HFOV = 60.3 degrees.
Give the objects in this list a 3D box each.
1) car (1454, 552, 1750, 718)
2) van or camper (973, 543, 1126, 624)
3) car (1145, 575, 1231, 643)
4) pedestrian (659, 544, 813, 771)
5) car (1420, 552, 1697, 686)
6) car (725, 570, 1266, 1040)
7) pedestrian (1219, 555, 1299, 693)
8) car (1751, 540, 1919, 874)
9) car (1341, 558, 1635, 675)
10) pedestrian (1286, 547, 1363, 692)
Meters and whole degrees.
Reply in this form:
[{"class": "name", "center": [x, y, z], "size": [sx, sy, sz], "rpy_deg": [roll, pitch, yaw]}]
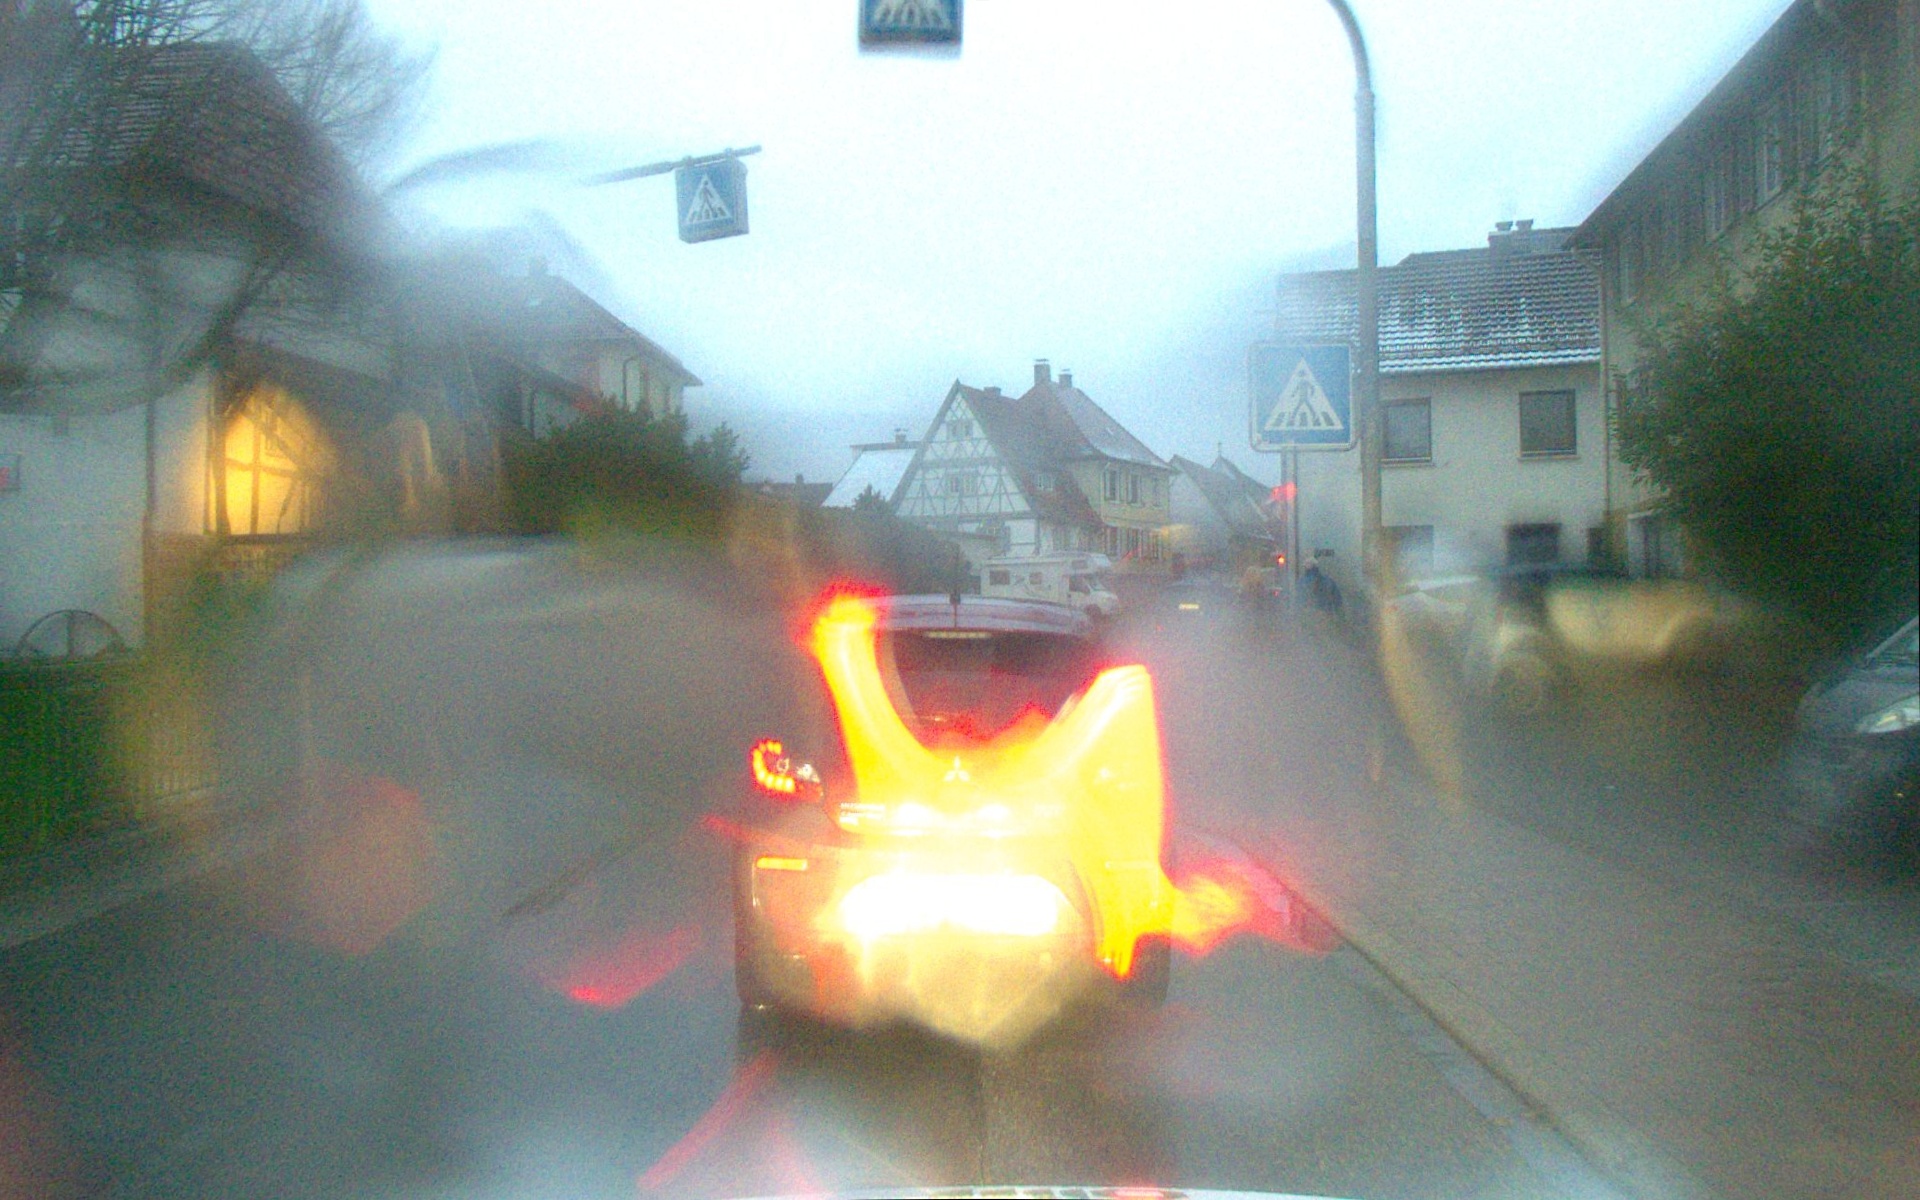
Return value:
[{"class": "car", "center": [6.658, 0.340, 17.362], "size": [2.528, 1.574, 1.552], "rpy_deg": [-2, 1, 6]}, {"class": "van or camper", "center": [3.840, -0.678, 70.844], "size": [5.937, 3.006, 2.406], "rpy_deg": [-4, -1, 22]}, {"class": "car", "center": [6.018, 0.205, 43.277], "size": [1.808, 1.665, 4.339], "rpy_deg": [0, 0, 13]}, {"class": "pedestrian", "center": [-1.833, 0.459, 13.672], "size": [0.861, 1.765, 0.956], "rpy_deg": [-4, 0, 14]}, {"class": "car", "center": [7.448, 0.232, 20.819], "size": [2.999, 1.499, 1.551], "rpy_deg": [-2, 0, 9]}, {"class": "car", "center": [-0.034, 0.636, 7.363], "size": [1.760, 1.502, 3.996], "rpy_deg": [0, 1, -5]}, {"class": "pedestrian", "center": [3.881, 0.297, 21.420], "size": [0.848, 1.695, 0.993], "rpy_deg": [-4, 0, 14]}, {"class": "car", "center": [5.539, 0.425, 8.028], "size": [2.705, 1.499, 1.428], "rpy_deg": [-2, 0, 6]}, {"class": "car", "center": [7.594, 0.231, 24.109], "size": [3.816, 1.499, 1.752], "rpy_deg": [-2, 0, 9]}, {"class": "pedestrian", "center": [4.686, 0.236, 21.223], "size": [0.830, 1.763, 0.972], "rpy_deg": [-4, 0, 14]}]
